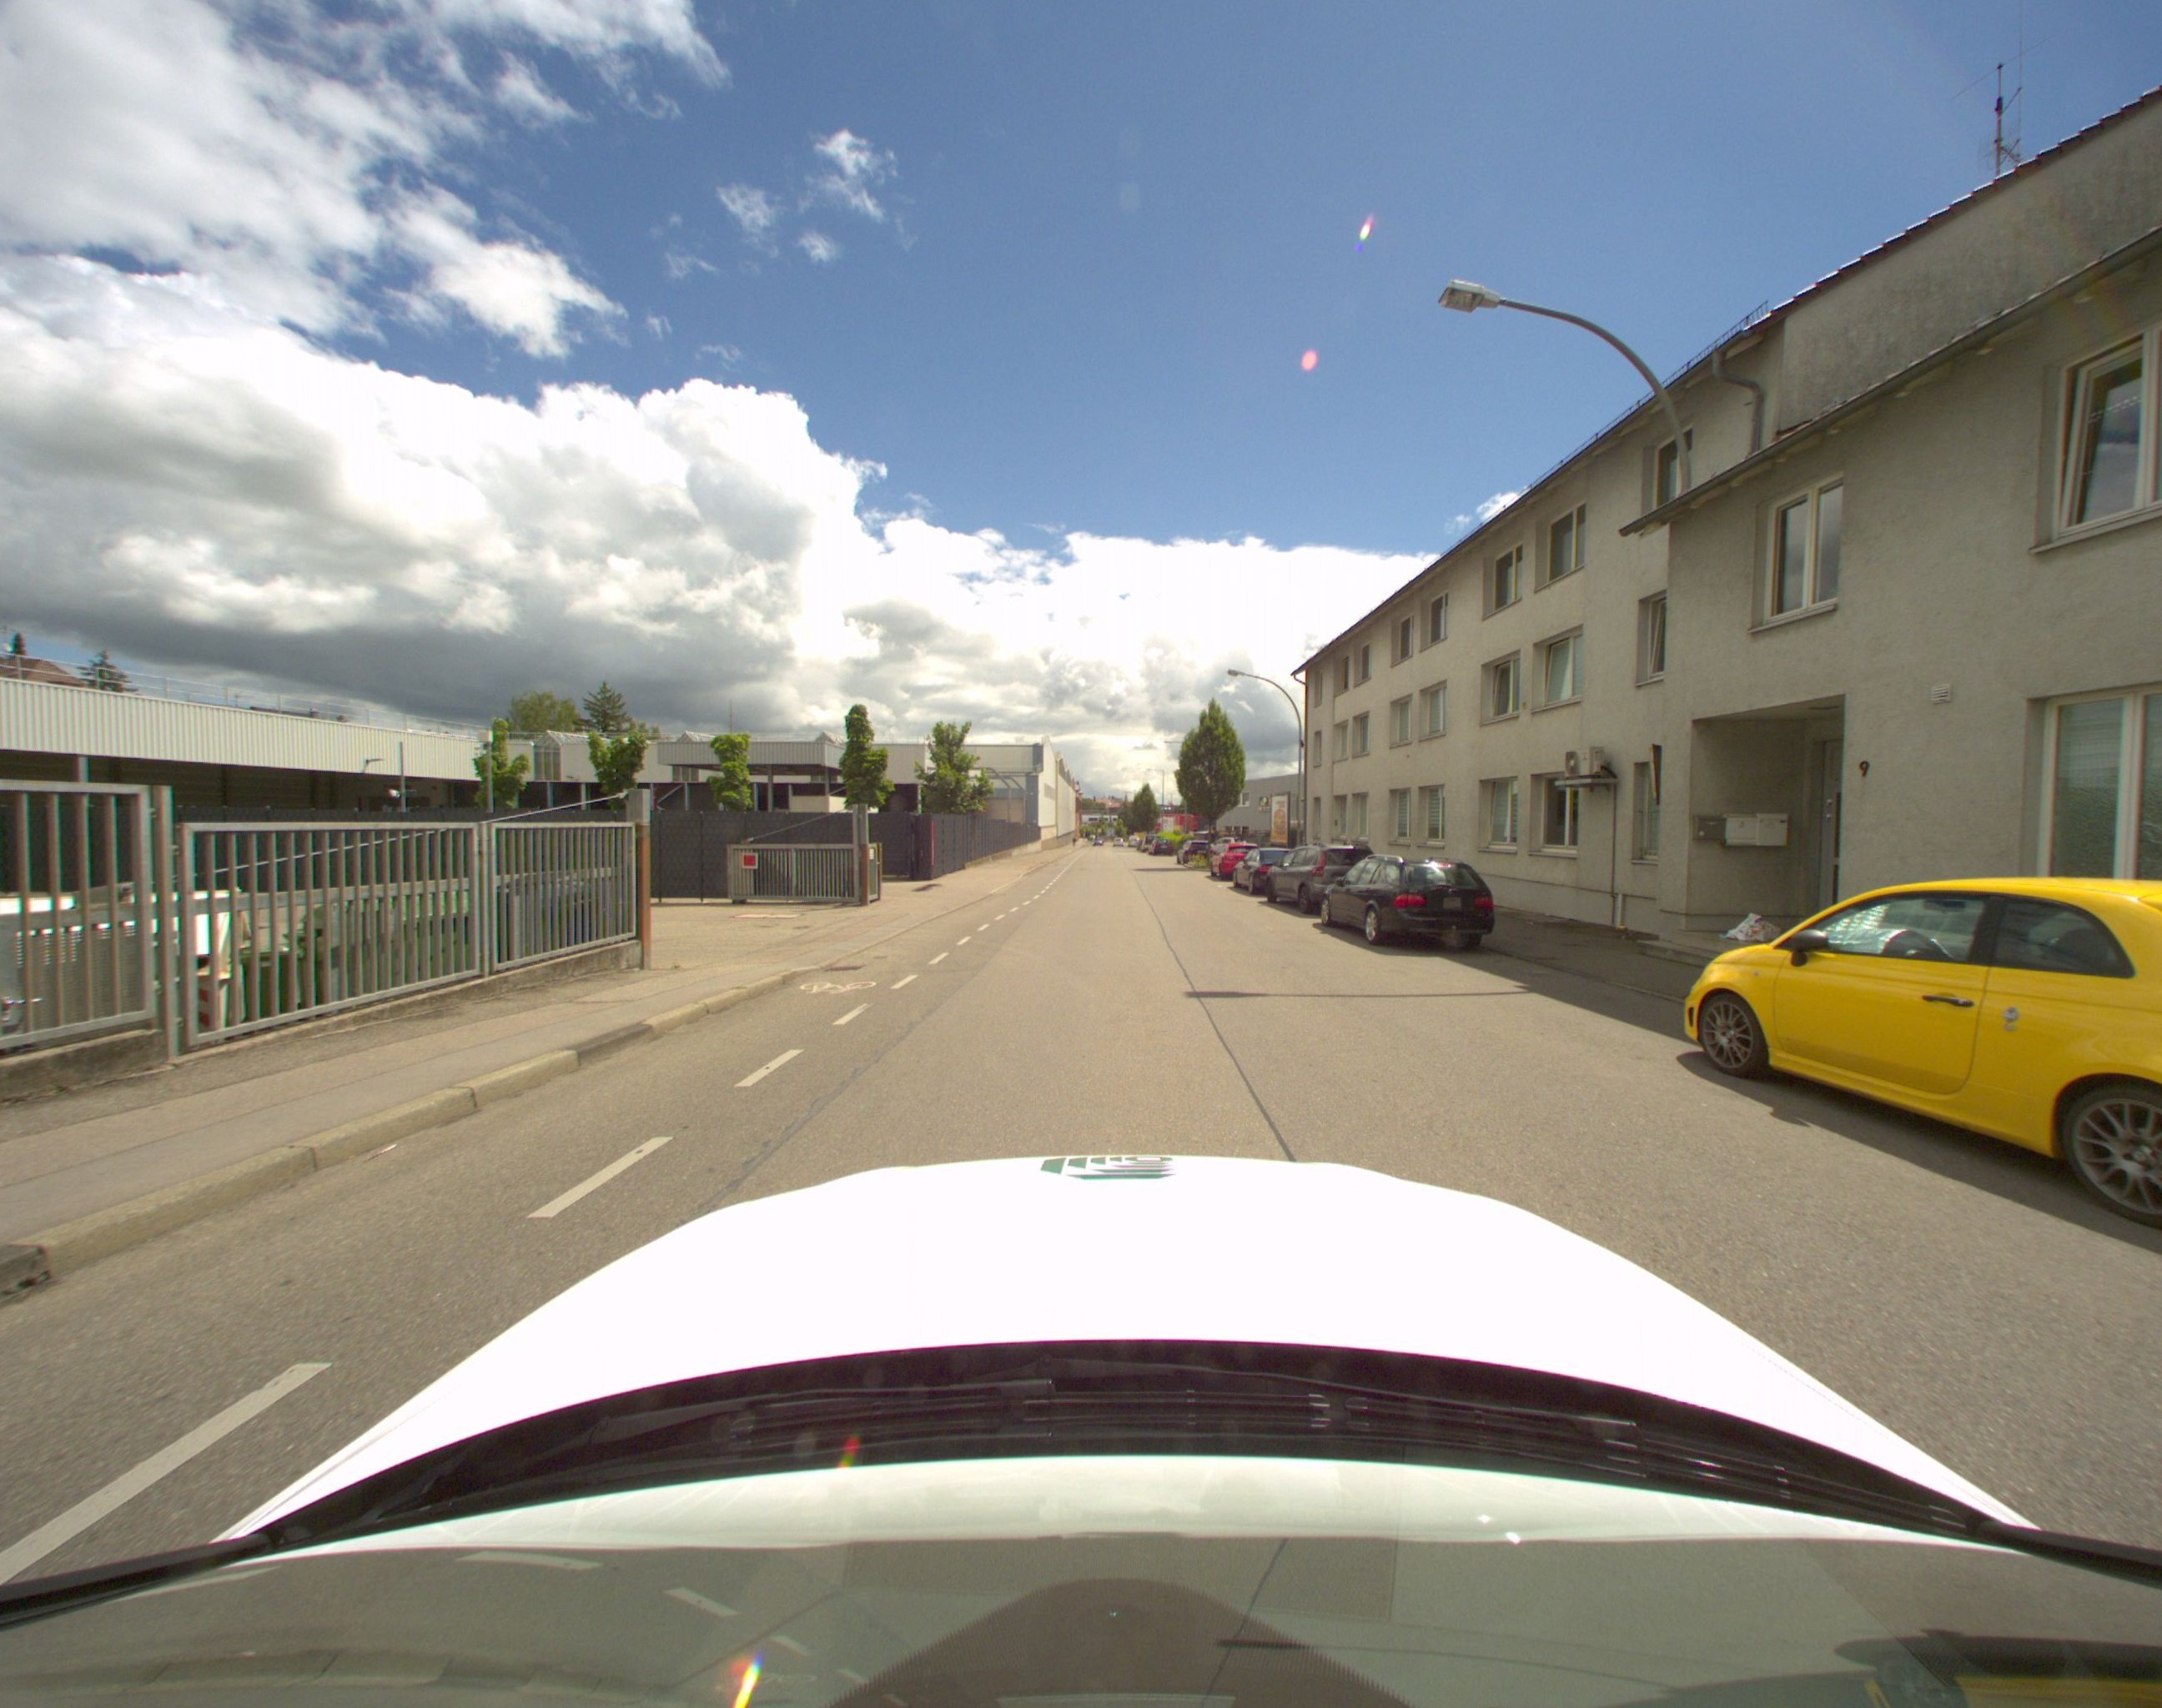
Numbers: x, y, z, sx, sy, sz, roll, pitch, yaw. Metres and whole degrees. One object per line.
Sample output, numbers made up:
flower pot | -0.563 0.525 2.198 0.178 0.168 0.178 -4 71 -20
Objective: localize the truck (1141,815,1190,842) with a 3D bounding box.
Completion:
truck | 15.372 -4.528 148.227 8.376 4.671 2.596 0 -1 22

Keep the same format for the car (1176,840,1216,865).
car | 6.839 -0.099 48.815 1.785 1.465 4.708 0 0 0

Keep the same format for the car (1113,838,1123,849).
car | 6.241 -1.745 136.085 1.561 1.786 3.606 0 -1 1

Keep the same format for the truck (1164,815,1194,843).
truck | 16.976 -4.331 141.467 2.577 4.449 7.825 0 -1 -14

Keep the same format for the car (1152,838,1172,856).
car | 7.452 -0.627 75.410 1.672 1.638 4.126 0 1 3

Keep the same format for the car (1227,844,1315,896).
car | 5.982 0.445 26.165 1.729 1.423 4.861 1 2 0

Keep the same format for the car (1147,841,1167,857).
car | 7.502 -0.491 80.548 1.649 1.540 4.735 0 1 1

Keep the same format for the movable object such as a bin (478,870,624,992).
movable object such as a bin | -6.814 0.955 10.550 0.987 1.393 1.217 -3 1 3

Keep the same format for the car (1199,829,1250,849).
car | 12.143 -1.230 69.050 1.733 1.462 4.029 -4 1 -37

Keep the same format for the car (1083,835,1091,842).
car | 1.563 -3.863 201.730 1.846 1.486 4.000 0 -1 1

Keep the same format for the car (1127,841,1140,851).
car | 8.704 -1.361 134.592 1.697 1.527 3.735 3 1 -2

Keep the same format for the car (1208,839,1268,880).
car | 6.232 0.175 32.769 1.728 1.472 4.264 0 2 2

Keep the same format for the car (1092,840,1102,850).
car | 3.016 -1.638 151.402 1.713 1.555 4.288 -3 0 1

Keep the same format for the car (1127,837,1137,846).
car | 9.152 -2.216 145.417 1.694 1.527 3.741 0 1 3

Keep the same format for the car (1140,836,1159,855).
car | 7.567 -0.929 90.348 1.862 1.990 5.145 0 1 1

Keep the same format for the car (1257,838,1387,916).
car | 5.902 0.470 20.579 1.672 1.638 4.793 2 2 -2

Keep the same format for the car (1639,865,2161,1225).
car | 5.385 0.822 4.897 1.586 1.447 3.792 0 0 2

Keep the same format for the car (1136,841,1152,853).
car | 8.056 -0.916 104.157 1.708 1.473 4.512 0 1 1

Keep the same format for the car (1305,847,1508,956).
car | 5.654 0.706 14.945 1.699 1.510 5.088 2 2 0
